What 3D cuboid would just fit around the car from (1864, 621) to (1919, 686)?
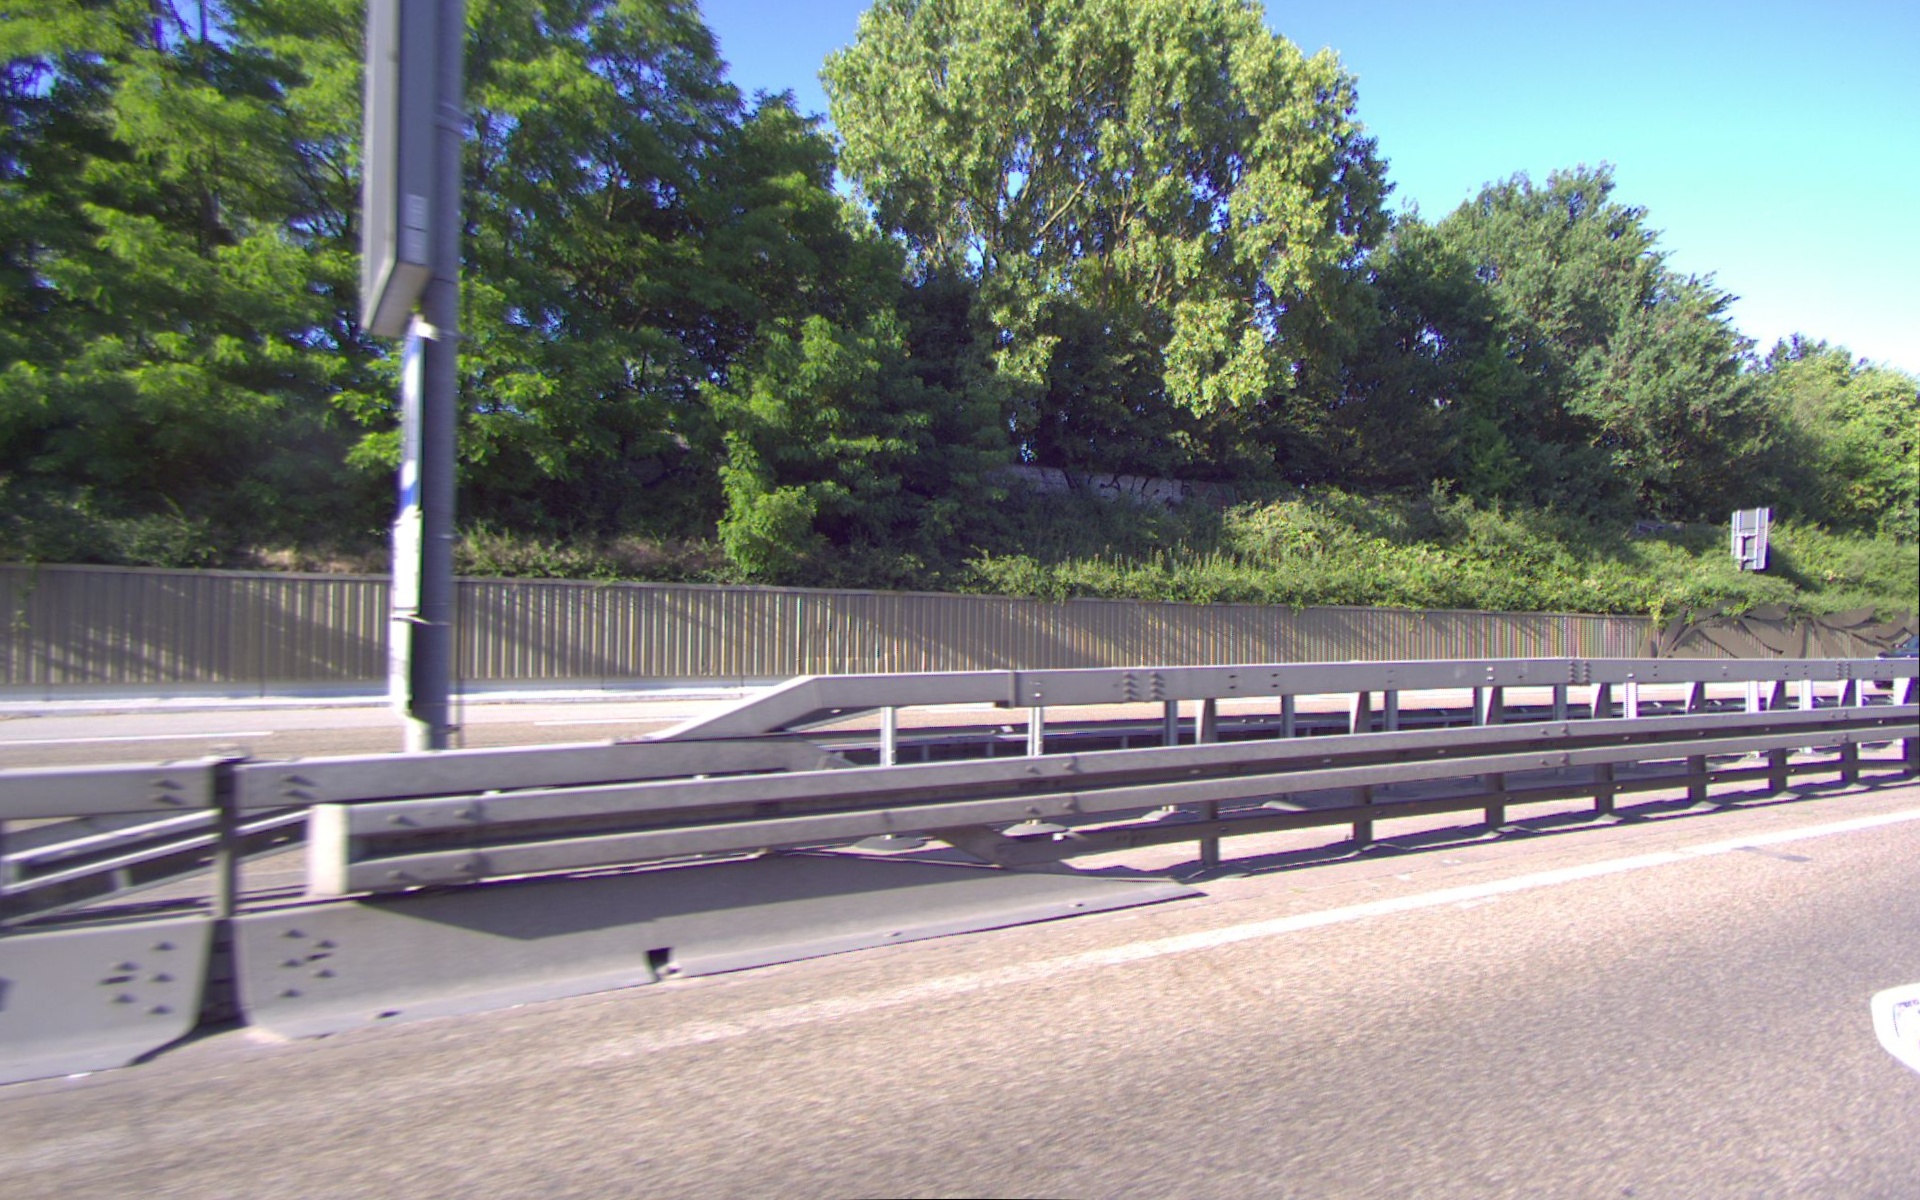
[{"bbox_3d":[28.047,1.494,28.694,4.799,1.698,1.661,0,1,-27],"label":"car"}]
